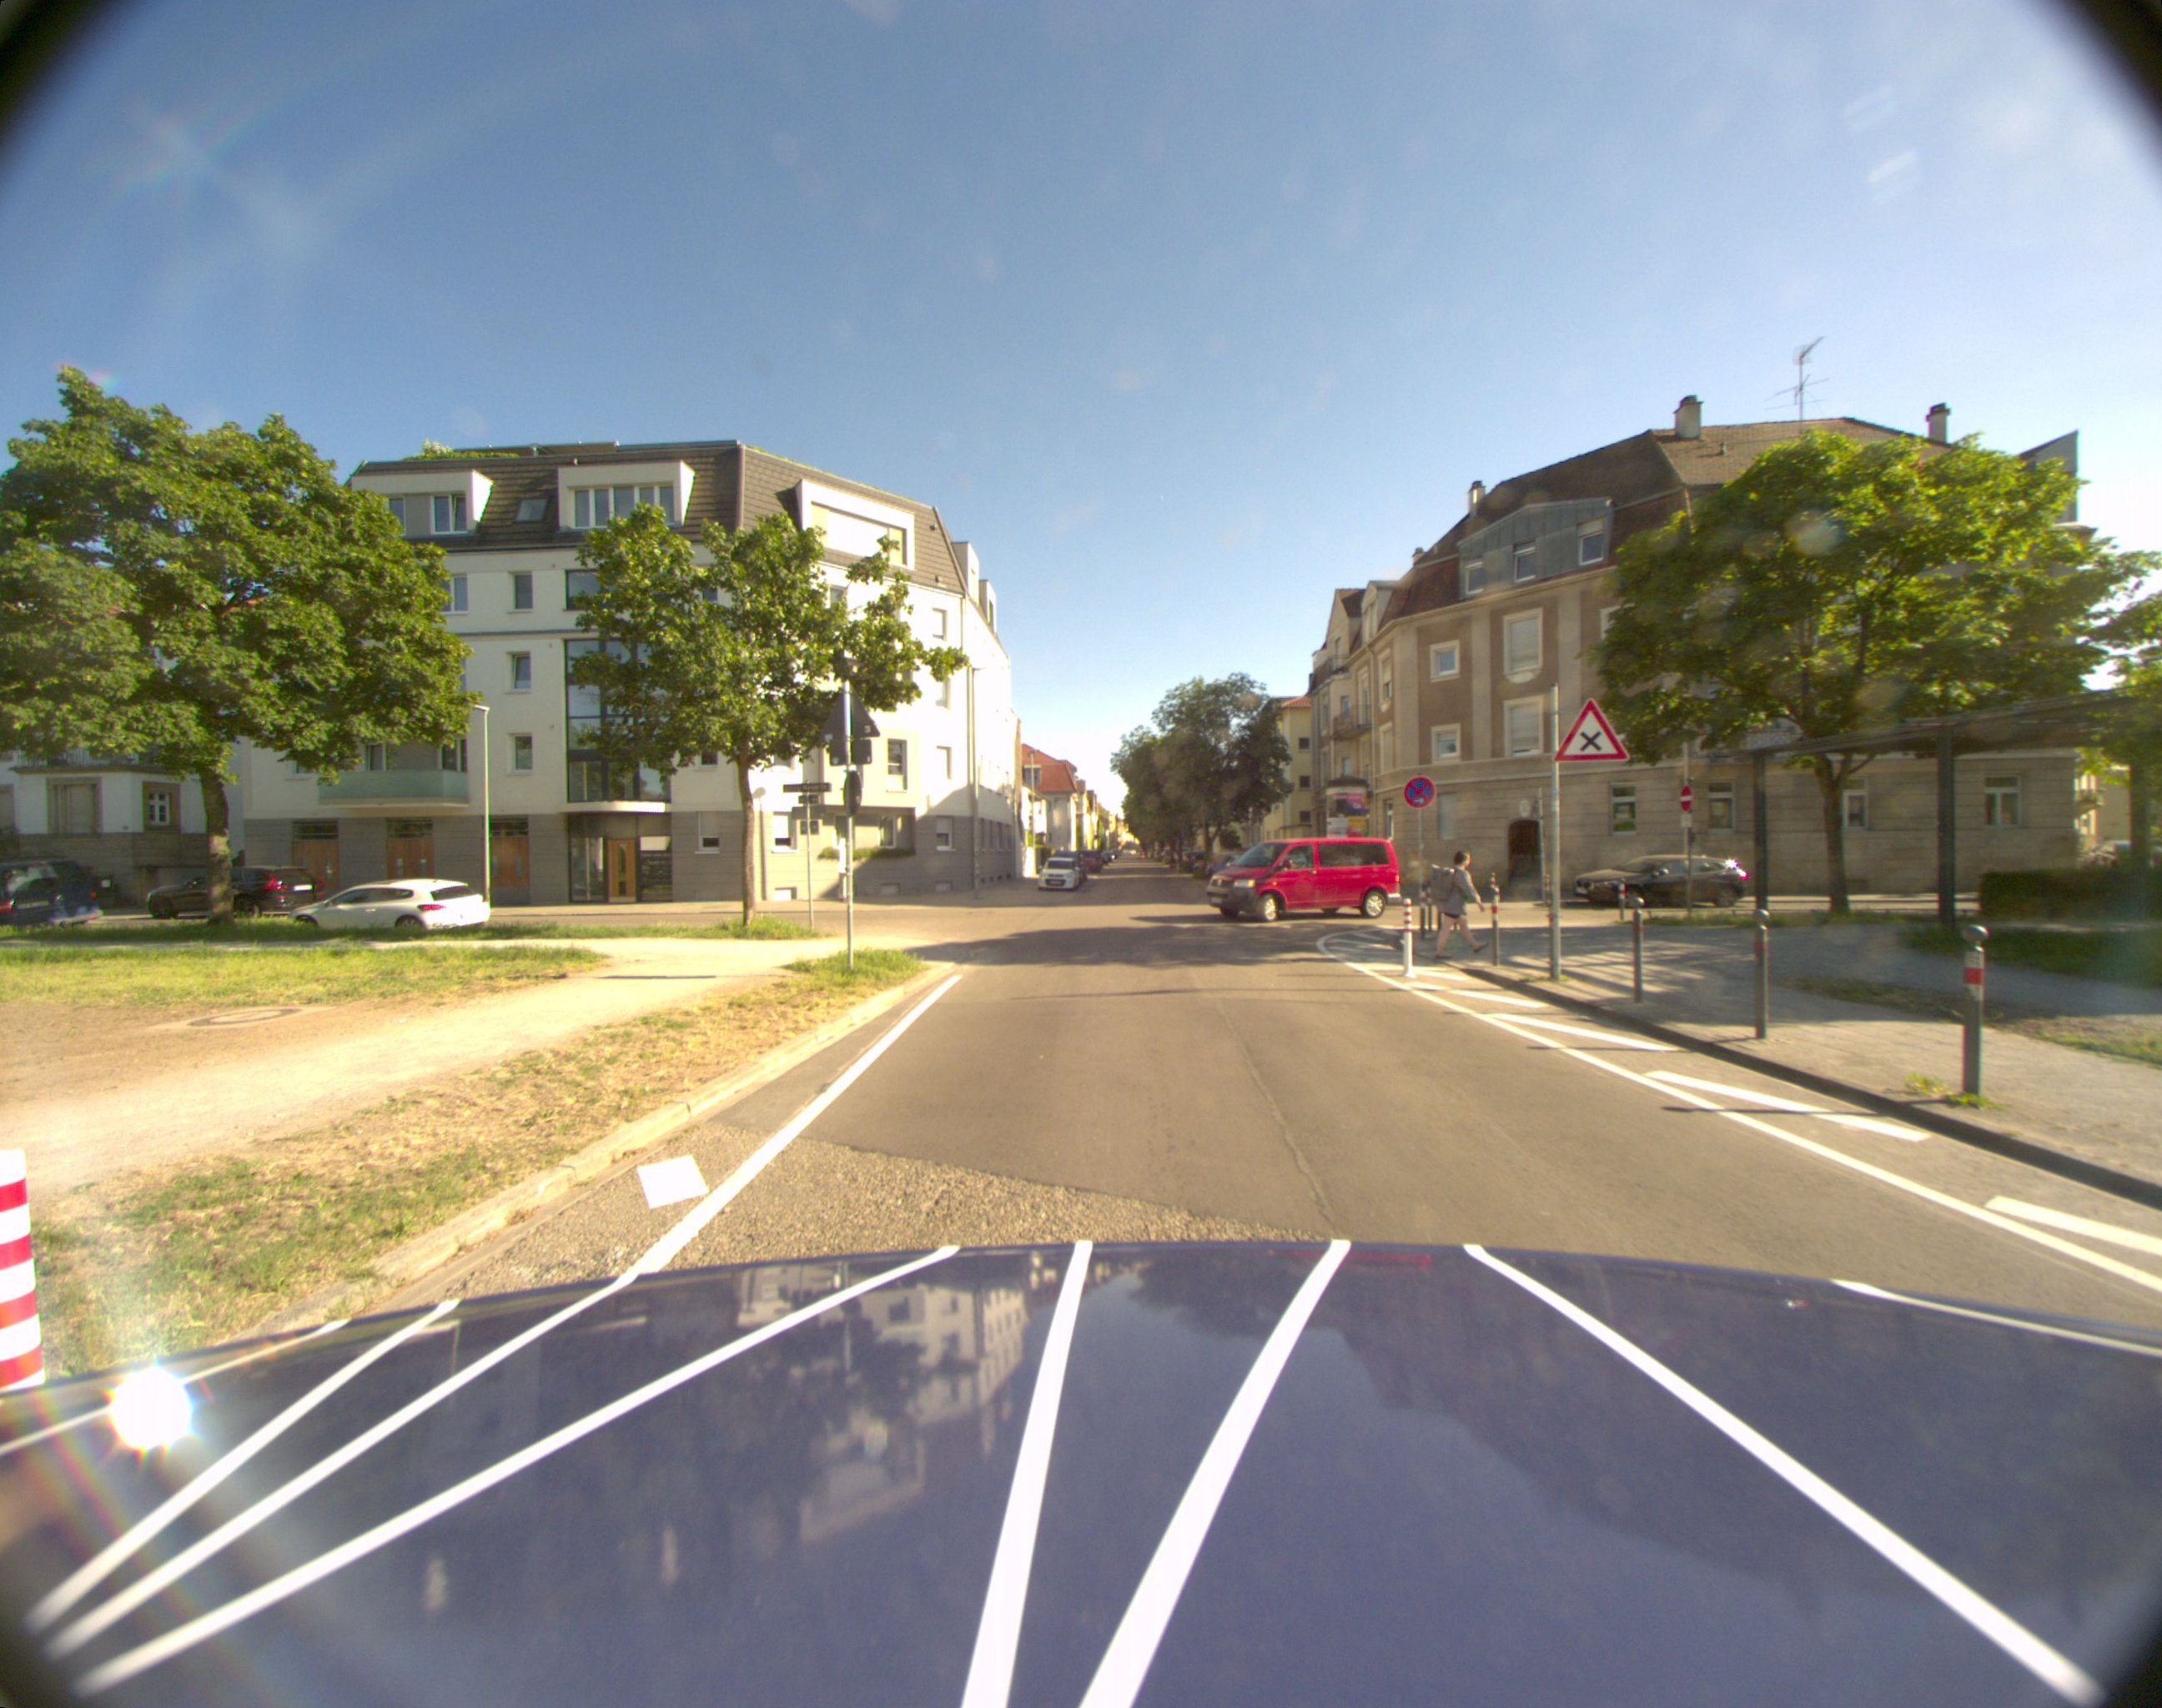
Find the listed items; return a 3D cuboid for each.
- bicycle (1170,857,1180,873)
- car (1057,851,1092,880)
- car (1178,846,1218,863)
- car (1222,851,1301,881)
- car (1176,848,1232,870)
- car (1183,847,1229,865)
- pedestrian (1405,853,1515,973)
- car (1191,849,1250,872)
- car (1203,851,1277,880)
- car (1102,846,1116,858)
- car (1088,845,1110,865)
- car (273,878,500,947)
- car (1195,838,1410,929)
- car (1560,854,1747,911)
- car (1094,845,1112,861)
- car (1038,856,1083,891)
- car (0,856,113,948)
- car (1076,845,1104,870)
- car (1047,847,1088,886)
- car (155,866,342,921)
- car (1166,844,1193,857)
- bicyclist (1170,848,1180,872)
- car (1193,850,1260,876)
[{"bbox_3d":[6.555,0.761,53.038,0.644,1.102,2.066,-1,1,5],"label":"bicycle"},{"bbox_3d":[-0.352,0.633,44.943,1.664,1.533,4.067,2,1,4],"label":"car"},{"bbox_3d":[11.228,0.048,72.877,3.528,1.486,1.692,-2,1,-1],"label":"car"},{"bbox_3d":[9.568,0.624,40.459,3.788,1.436,1.692,-2,1,1],"label":"car"},{"bbox_3d":[9.220,0.372,57.122,3.791,1.486,1.691,-2,1,-9],"label":"car"},{"bbox_3d":[11.286,0.149,68.589,3.789,1.486,1.692,-2,1,-1],"label":"car"},{"bbox_3d":[5.749,0.857,11.568,1.090,1.665,0.912,-4,2,-13],"label":"pedestrian"},{"bbox_3d":[9.879,0.440,53.976,3.791,1.486,1.691,-2,1,-9],"label":"car"},{"bbox_3d":[8.903,0.610,42.689,3.788,1.486,1.692,-2,1,1],"label":"car"},{"bbox_3d":[4.320,-0.343,117.106,1.883,1.734,4.403,-1,0,4],"label":"car"},{"bbox_3d":[1.811,0.044,75.319,1.883,1.860,4.402,2,1,4],"label":"car"},{"bbox_3d":[-16.947,1.409,18.672,3.990,1.426,1.739,-1,5,4],"label":"car"},{"bbox_3d":[5.467,0.633,18.804,4.890,1.950,1.893,-1,2,-19],"label":"car"},{"bbox_3d":[16.627,0.806,22.242,4.011,1.476,1.867,-1,4,1],"label":"car"},{"bbox_3d":[2.661,-0.077,90.805,1.883,1.860,4.403,-1,0,4],"label":"car"},{"bbox_3d":[-0.892,0.841,35.088,1.664,1.440,3.689,2,1,4],"label":"car"},{"bbox_3d":[-27.516,1.176,19.161,3.989,2.073,1.783,-1,5,5],"label":"car"},{"bbox_3d":[0.748,0.235,61.296,1.883,1.860,4.402,2,1,4],"label":"car"},{"bbox_3d":[-0.652,0.600,39.545,1.664,1.825,4.257,2,1,4],"label":"car"},{"bbox_3d":[-27.536,1.284,25.227,4.284,1.673,1.896,-1,2,5],"label":"car"},{"bbox_3d":[13.601,-0.501,105.277,3.527,1.693,1.692,-2,1,2],"label":"car"},{"bbox_3d":[6.539,0.416,52.907,0.644,1.610,0.637,-1,1,5],"label":"bicyclist"},{"bbox_3d":[9.118,0.566,47.812,3.791,1.486,1.691,-2,1,-9],"label":"car"}]
